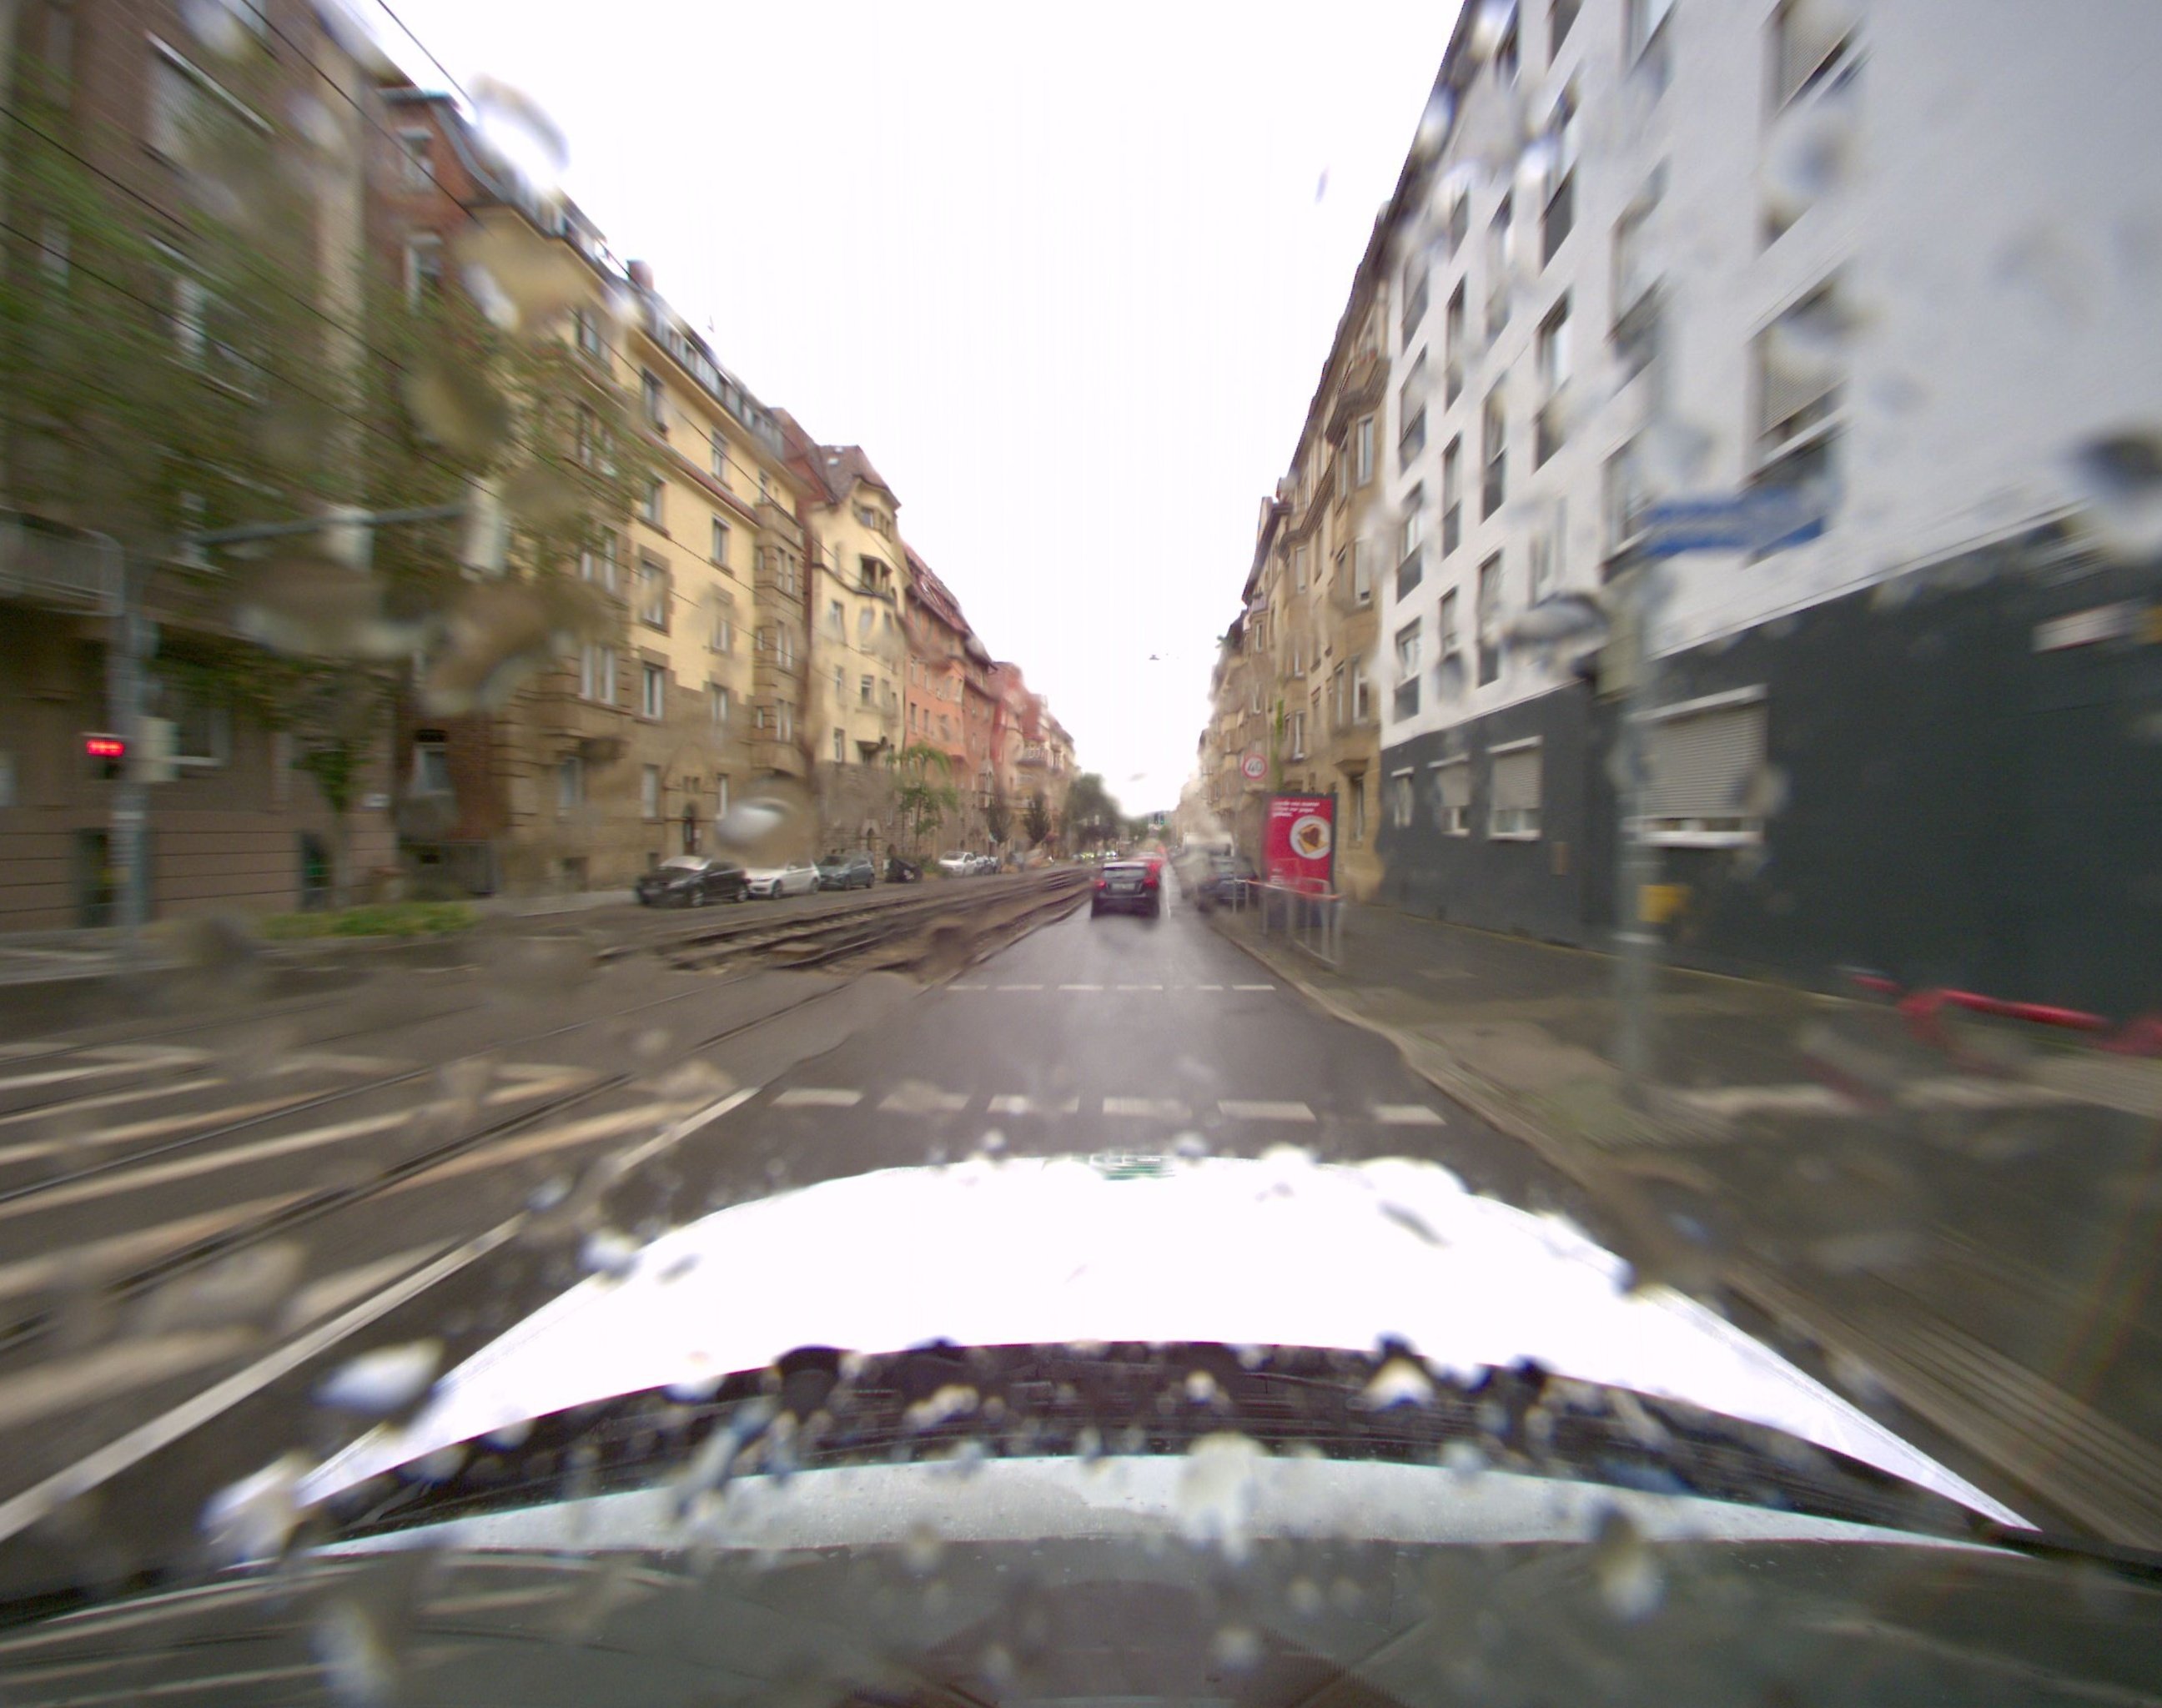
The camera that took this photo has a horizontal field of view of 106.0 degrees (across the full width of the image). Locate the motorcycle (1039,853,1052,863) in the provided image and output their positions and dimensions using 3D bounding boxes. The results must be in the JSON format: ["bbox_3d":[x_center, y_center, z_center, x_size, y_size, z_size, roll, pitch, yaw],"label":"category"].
[{"bbox_3d":[-4.078,0.461,93.622,1.423,1.134,0.624,1,0,35],"label":"motorcycle"}]

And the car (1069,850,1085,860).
[{"bbox_3d":[-0.576,0.177,127.081,1.983,1.517,4.007,1,0,6],"label":"car"}]

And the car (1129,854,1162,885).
[{"bbox_3d":[3.335,0.785,41.658,1.528,1.510,4.007,1,-1,6],"label":"car"}]

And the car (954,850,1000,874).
[{"bbox_3d":[-7.379,0.532,58.248,1.983,1.509,4.985,2,0,8],"label":"car"}]

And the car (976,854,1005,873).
[{"bbox_3d":[-7.061,0.749,63.815,1.635,1.398,3.887,1,0,3],"label":"car"}]

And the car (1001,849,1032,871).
[{"bbox_3d":[-5.902,0.513,75.348,1.983,1.901,4.707,-1,0,6],"label":"car"}]

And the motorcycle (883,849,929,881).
[{"bbox_3d":[-9.075,0.574,42.364,2.260,1.642,1.288,1,0,-12],"label":"motorcycle"}]

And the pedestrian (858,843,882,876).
[{"bbox_3d":[-11.508,0.304,44.464,1.002,1.753,0.926,1,0,6],"label":"pedestrian"}]

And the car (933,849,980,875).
[{"bbox_3d":[-7.993,0.468,52.795,1.774,1.589,4.361,-1,0,8],"label":"car"}]

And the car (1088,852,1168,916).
[{"bbox_3d":[1.304,0.746,21.739,1.937,1.564,3.647,0,-1,5],"label":"car"}]

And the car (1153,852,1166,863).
[{"bbox_3d":[11.118,0.499,115.253,1.893,1.593,4.006,0,-1,6],"label":"car"}]

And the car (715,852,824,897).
[{"bbox_3d":[-10.594,0.647,28.075,1.658,1.426,4.271,1,0,7],"label":"car"}]

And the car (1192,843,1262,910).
[{"bbox_3d":[4.319,0.613,24.656,1.760,1.808,4.489,1,0,6],"label":"car"}]

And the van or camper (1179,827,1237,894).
[{"bbox_3d":[5.066,0.269,33.129,2.054,2.469,6.129,0,0,6],"label":"van or camper"}]

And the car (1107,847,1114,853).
[{"bbox_3d":[7.335,-0.970,203.641,1.788,1.548,4.002,1,0,2],"label":"car"}]

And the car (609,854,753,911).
[{"bbox_3d":[-11.215,0.763,23.189,1.756,1.486,4.007,0,-1,7],"label":"car"}]

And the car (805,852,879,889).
[{"bbox_3d":[-9.944,0.632,34.218,1.553,1.438,4.152,0,0,5],"label":"car"}]

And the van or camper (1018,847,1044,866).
[{"bbox_3d":[-5.067,0.215,83.047,1.985,1.901,4.704,1,0,4],"label":"van or camper"}]

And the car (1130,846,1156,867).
[{"bbox_3d":[4.886,0.171,64.322,1.914,1.655,4.003,0,0,3],"label":"car"}]

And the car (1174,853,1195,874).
[{"bbox_3d":[8.727,0.792,68.471,1.701,1.628,4.009,1,0,8],"label":"car"}]

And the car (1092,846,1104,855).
[{"bbox_3d":[3.431,-0.650,165.139,1.983,1.794,4.007,1,0,6],"label":"car"}]
